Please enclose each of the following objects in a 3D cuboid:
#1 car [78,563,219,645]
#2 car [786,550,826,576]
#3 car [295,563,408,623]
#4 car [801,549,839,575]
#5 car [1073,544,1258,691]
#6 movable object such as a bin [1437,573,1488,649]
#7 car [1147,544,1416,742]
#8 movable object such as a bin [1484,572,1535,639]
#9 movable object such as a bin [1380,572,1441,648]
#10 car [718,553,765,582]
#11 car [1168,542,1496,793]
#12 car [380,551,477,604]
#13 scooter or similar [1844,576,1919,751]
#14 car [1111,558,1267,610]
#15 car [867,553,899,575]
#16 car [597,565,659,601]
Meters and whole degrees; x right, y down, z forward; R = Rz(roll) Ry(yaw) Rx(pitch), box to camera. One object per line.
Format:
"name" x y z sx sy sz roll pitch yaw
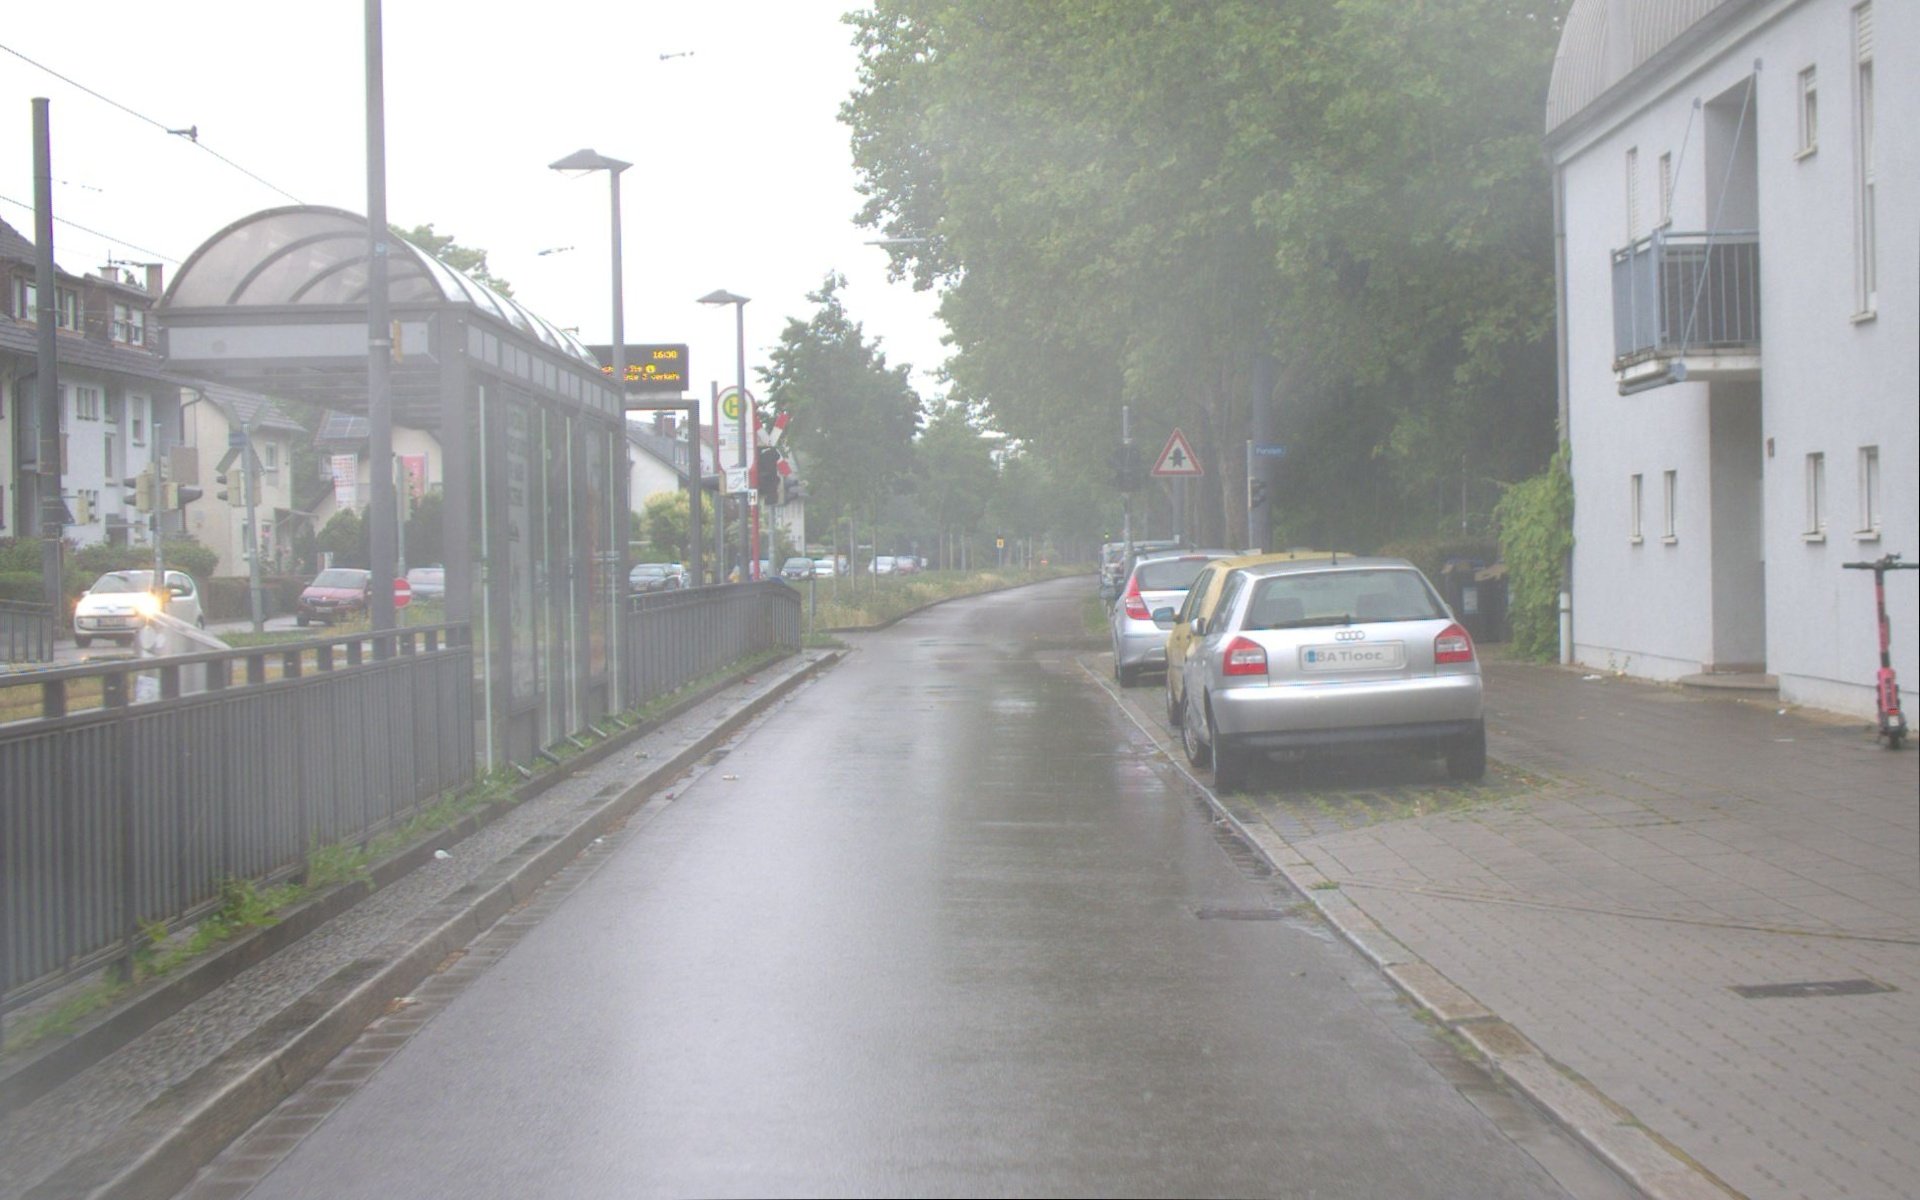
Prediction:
"car" -15.257 0.073 64.779 1.633 1.488 4.000 0 0 1
"car" -8.892 -2.145 198.690 1.928 1.481 3.999 0 0 3
"car" -15.459 -0.180 87.523 1.928 1.481 3.999 0 0 3
"car" -8.570 -2.321 210.443 1.928 1.481 3.999 0 0 3
"car" 2.263 0.190 38.774 1.807 1.462 3.794 -4 0 1
"movable object such as a bin" 6.976 0.146 47.750 0.536 1.018 0.739 -3 0 0
"car" 2.569 0.335 28.297 1.807 1.400 3.794 -4 0 1
"movable object such as a bin" 7.606 0.070 47.607 0.536 0.896 0.739 -3 0 0
"movable object such as a bin" 6.339 0.140 48.412 0.692 1.018 0.824 -3 0 0
"car" -11.197 -1.659 176.681 1.928 1.481 3.999 0 0 3
"car" 2.382 0.412 23.051 1.650 1.400 4.649 -4 0 1
"car" -15.128 -0.622 97.958 1.928 1.481 3.999 0 0 3
"scooter or similar" 5.918 0.390 21.917 0.333 1.081 1.395 0 0 5
"car" 6.494 -0.452 97.591 3.986 1.448 2.001 0 0 -14
"car" -5.390 -2.483 240.522 1.928 1.481 3.999 0 0 3
"car" -13.708 -0.700 142.137 1.928 1.481 3.999 0 0 3
